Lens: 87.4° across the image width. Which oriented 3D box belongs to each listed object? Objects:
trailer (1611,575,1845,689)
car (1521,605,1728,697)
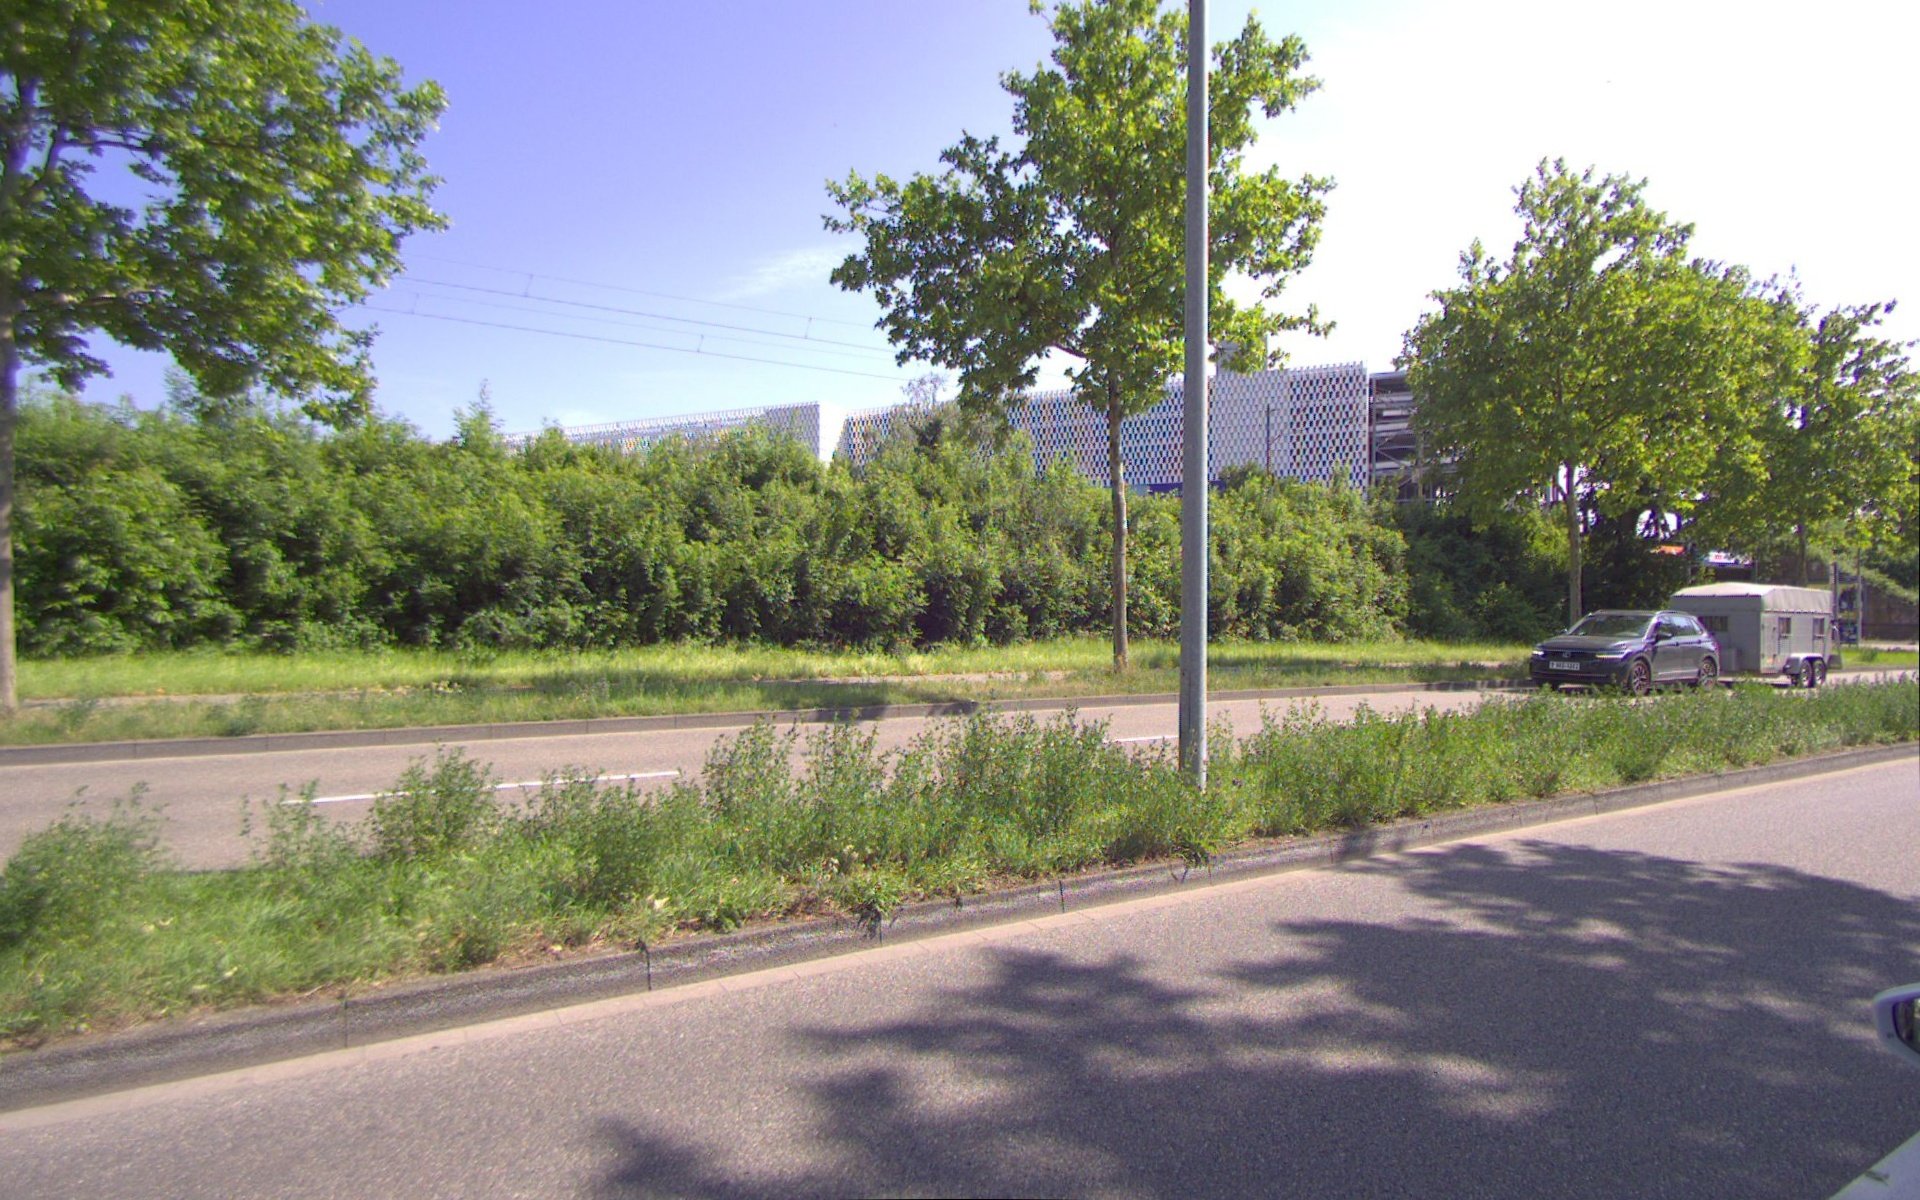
[{"bbox_3d":[17.301,0.699,22.564,5.473,2.295,2.298,1,0,-30],"label":"trailer"},{"bbox_3d":[13.184,0.960,19.872,4.310,1.643,1.707,1,0,-30],"label":"car"}]
